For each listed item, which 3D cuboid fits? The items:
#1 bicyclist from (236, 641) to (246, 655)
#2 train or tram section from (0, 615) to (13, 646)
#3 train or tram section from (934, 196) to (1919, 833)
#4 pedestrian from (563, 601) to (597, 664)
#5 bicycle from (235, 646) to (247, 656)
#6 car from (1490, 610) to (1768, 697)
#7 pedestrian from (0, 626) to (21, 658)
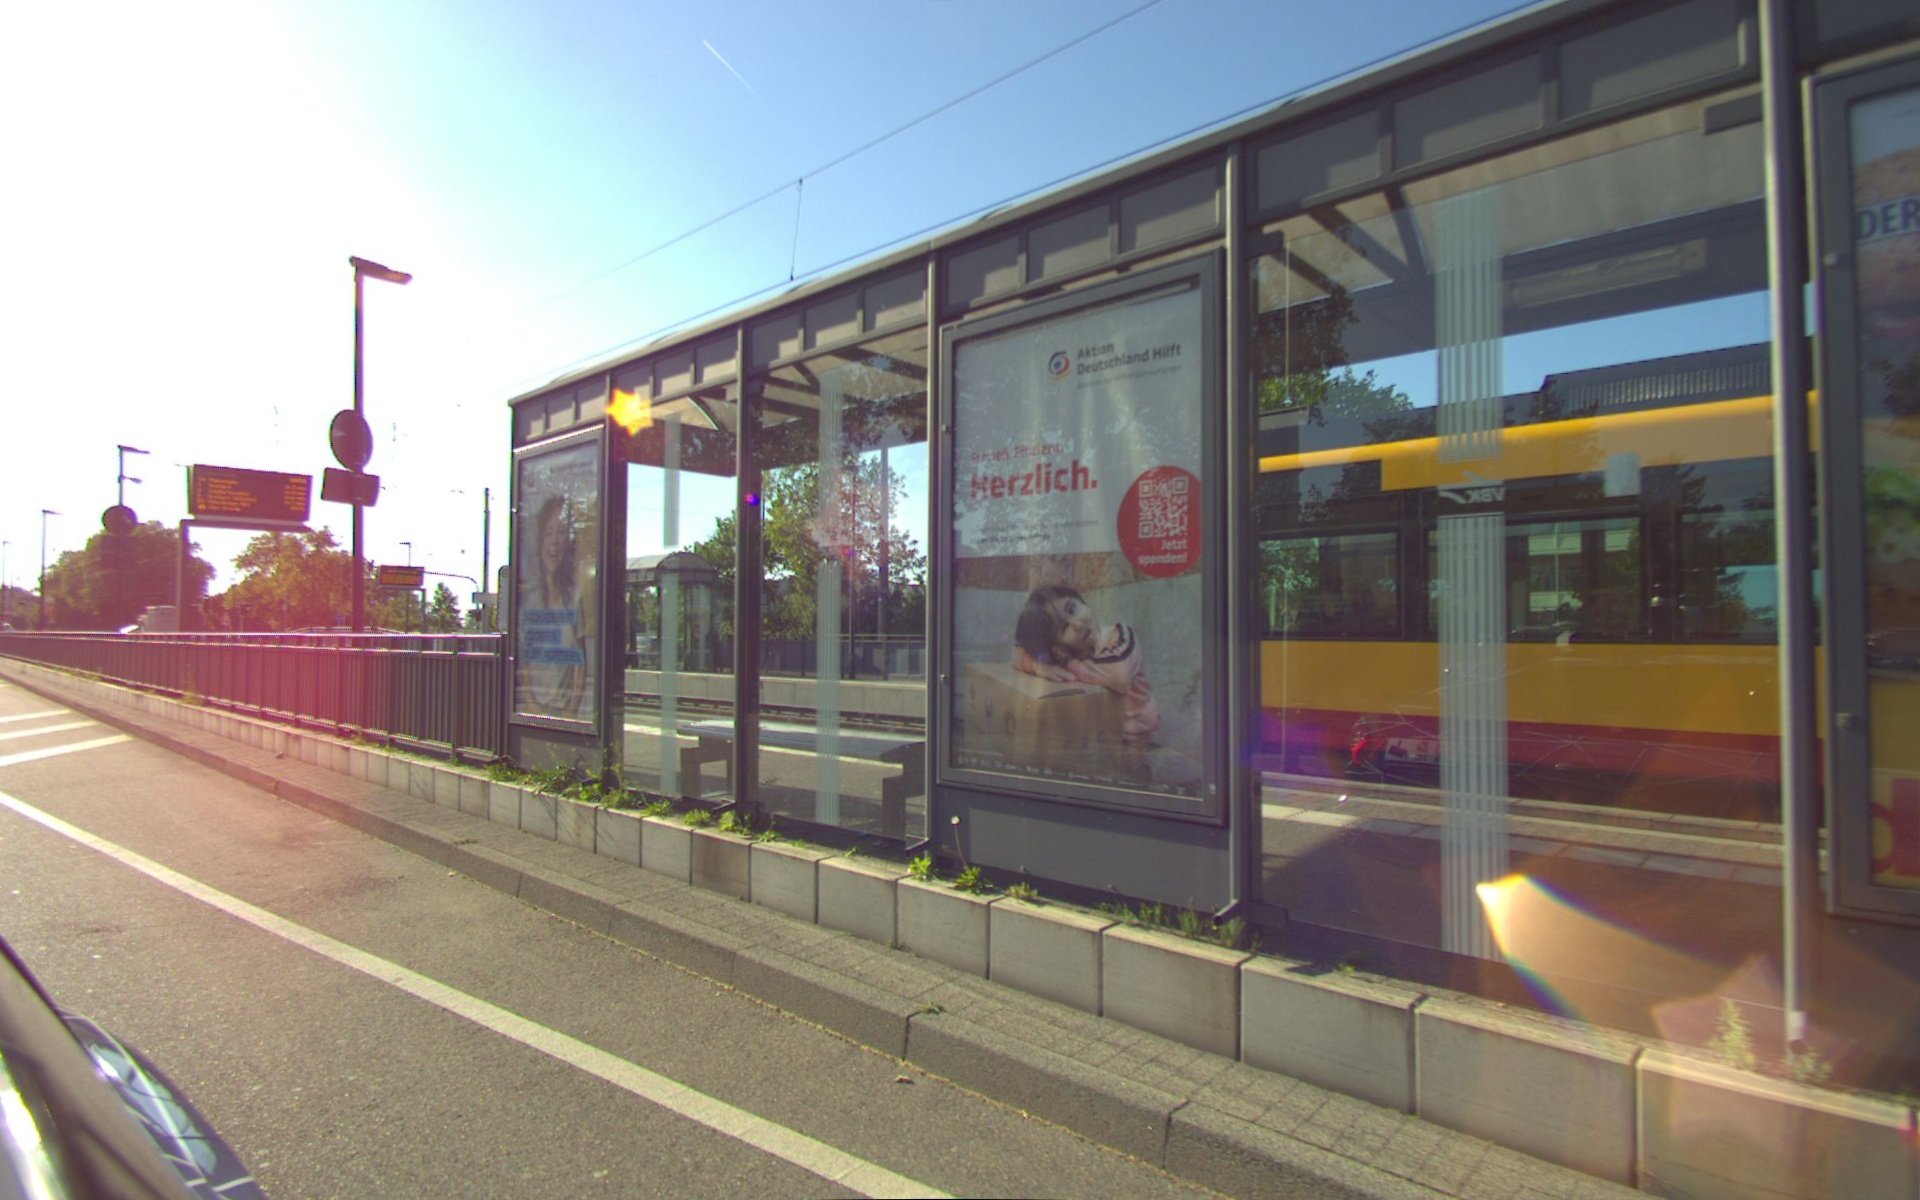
[{"bbox_3d":[-84.547,5.663,119.045,0.835,1.629,0.760,-2,-3,43],"label":"bicyclist"},{"bbox_3d":[-130.703,4.160,136.962,12.112,3.977,2.852,-2,-3,43],"label":"train or tram section"},{"bbox_3d":[6.417,-0.517,8.030,15.876,4.036,2.796,-2,-2,43],"label":"train or tram section"},{"bbox_3d":[-10.942,0.934,29.141,0.697,1.770,0.583,-1,-2,24],"label":"pedestrian"},{"bbox_3d":[-84.616,6.030,119.113,2.528,1.136,0.624,-2,-3,43],"label":"bicycle"},{"bbox_3d":[12.185,0.932,18.567,3.999,1.429,1.972,-2,-2,42],"label":"car"},{"bbox_3d":[-50.486,2.217,53.622,0.985,1.657,0.881,-2,-3,36],"label":"pedestrian"}]
